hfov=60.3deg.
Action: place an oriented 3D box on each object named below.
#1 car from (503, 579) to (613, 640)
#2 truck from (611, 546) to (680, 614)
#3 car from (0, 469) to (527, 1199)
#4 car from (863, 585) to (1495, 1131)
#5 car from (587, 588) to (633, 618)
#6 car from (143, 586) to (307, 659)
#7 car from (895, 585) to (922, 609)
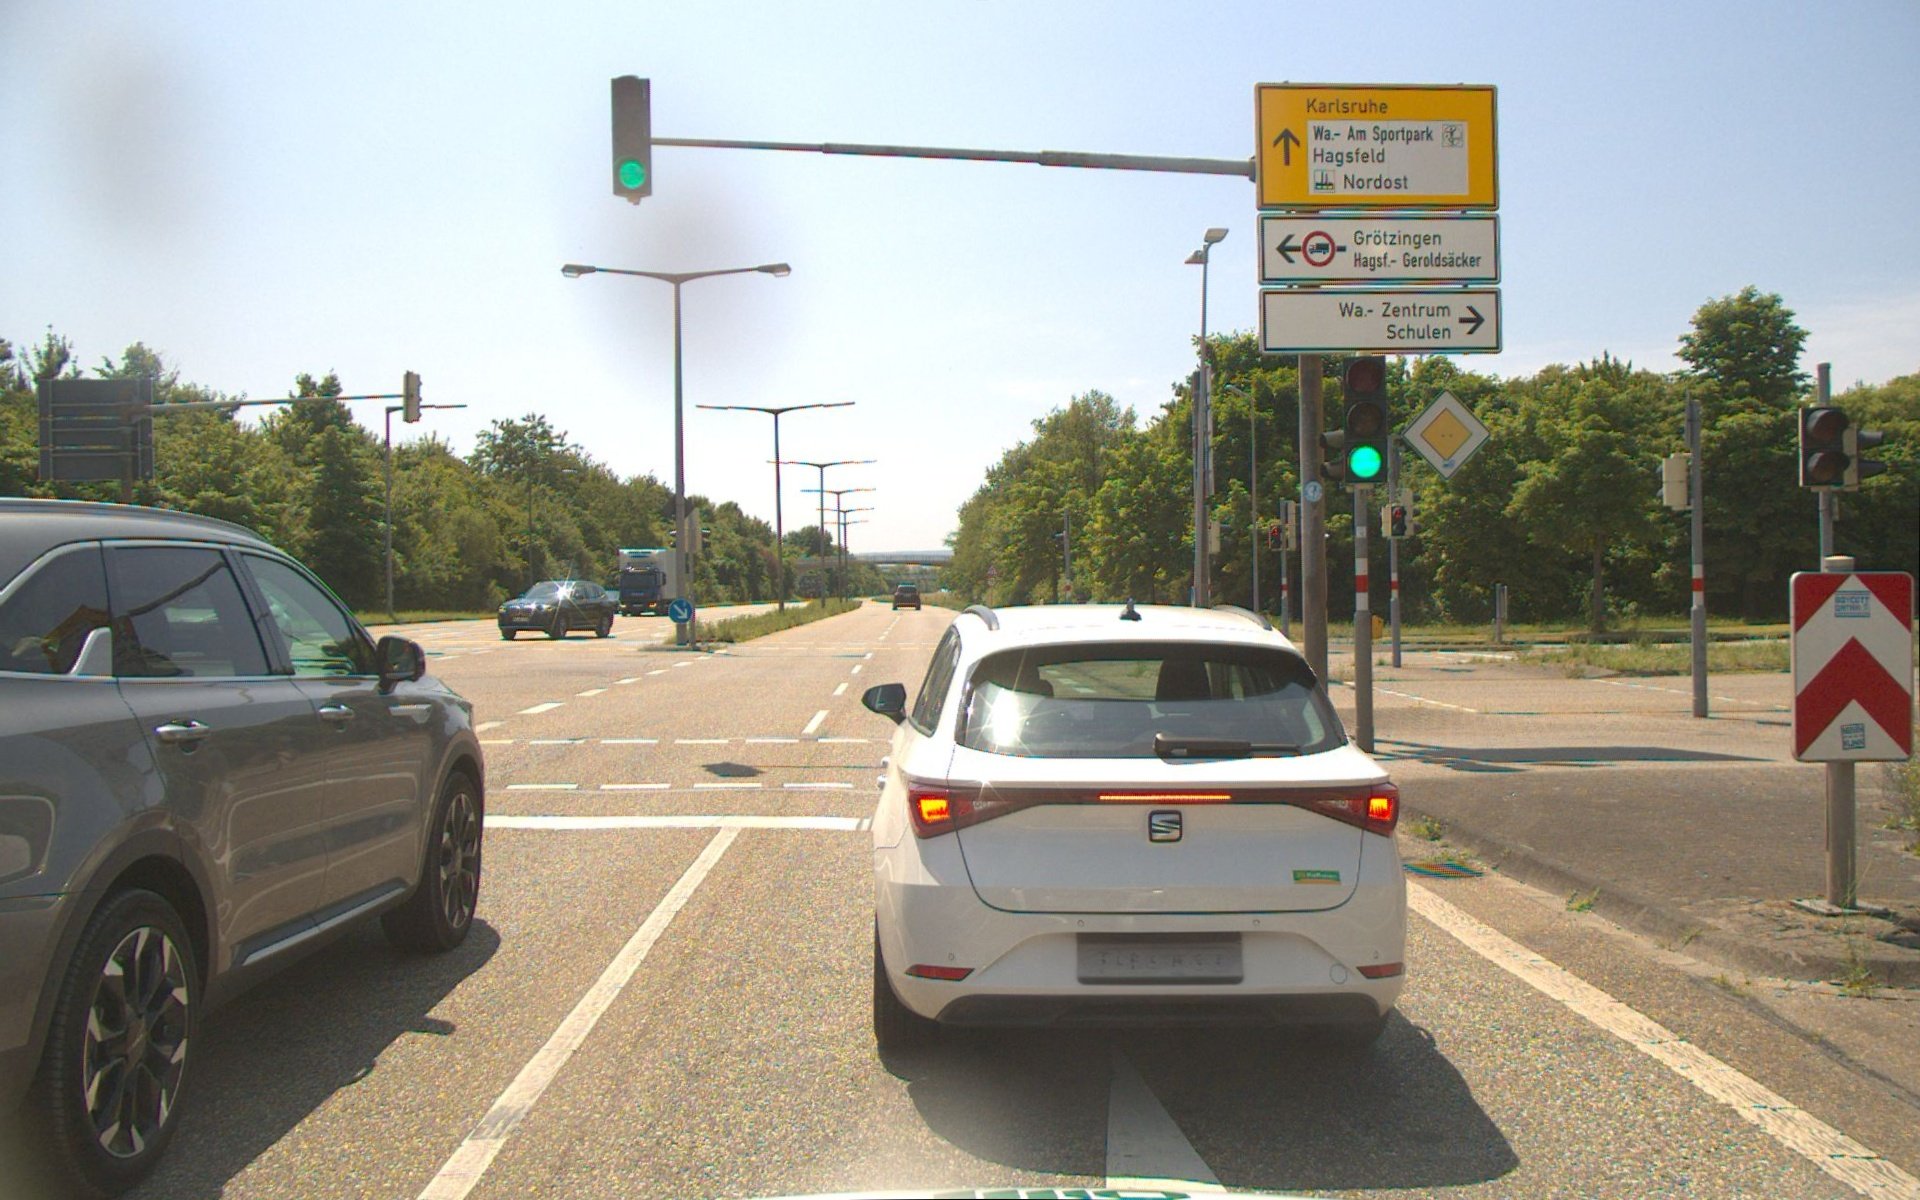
[{"bbox_3d":[-11.843,0.241,48.966,1.670,1.692,4.227,-1,1,9],"label":"car"},{"bbox_3d":[-17.487,-1.088,92.315,2.633,3.633,7.266,0,0,-1],"label":"truck"},{"bbox_3d":[-2.860,0.581,5.301,1.767,1.691,4.643,-1,0,-1],"label":"car"},{"bbox_3d":[0.572,0.710,6.329,1.699,1.453,3.693,1,0,-1],"label":"car"},{"bbox_3d":[-21.360,0.162,101.005,1.785,1.762,4.925,-1,0,-1],"label":"car"},{"bbox_3d":[-16.096,0.449,36.455,1.785,1.481,4.168,-1,0,-1],"label":"car"},{"bbox_3d":[-3.851,-0.244,123.007,1.818,1.738,3.997,-1,1,-4],"label":"car"}]
